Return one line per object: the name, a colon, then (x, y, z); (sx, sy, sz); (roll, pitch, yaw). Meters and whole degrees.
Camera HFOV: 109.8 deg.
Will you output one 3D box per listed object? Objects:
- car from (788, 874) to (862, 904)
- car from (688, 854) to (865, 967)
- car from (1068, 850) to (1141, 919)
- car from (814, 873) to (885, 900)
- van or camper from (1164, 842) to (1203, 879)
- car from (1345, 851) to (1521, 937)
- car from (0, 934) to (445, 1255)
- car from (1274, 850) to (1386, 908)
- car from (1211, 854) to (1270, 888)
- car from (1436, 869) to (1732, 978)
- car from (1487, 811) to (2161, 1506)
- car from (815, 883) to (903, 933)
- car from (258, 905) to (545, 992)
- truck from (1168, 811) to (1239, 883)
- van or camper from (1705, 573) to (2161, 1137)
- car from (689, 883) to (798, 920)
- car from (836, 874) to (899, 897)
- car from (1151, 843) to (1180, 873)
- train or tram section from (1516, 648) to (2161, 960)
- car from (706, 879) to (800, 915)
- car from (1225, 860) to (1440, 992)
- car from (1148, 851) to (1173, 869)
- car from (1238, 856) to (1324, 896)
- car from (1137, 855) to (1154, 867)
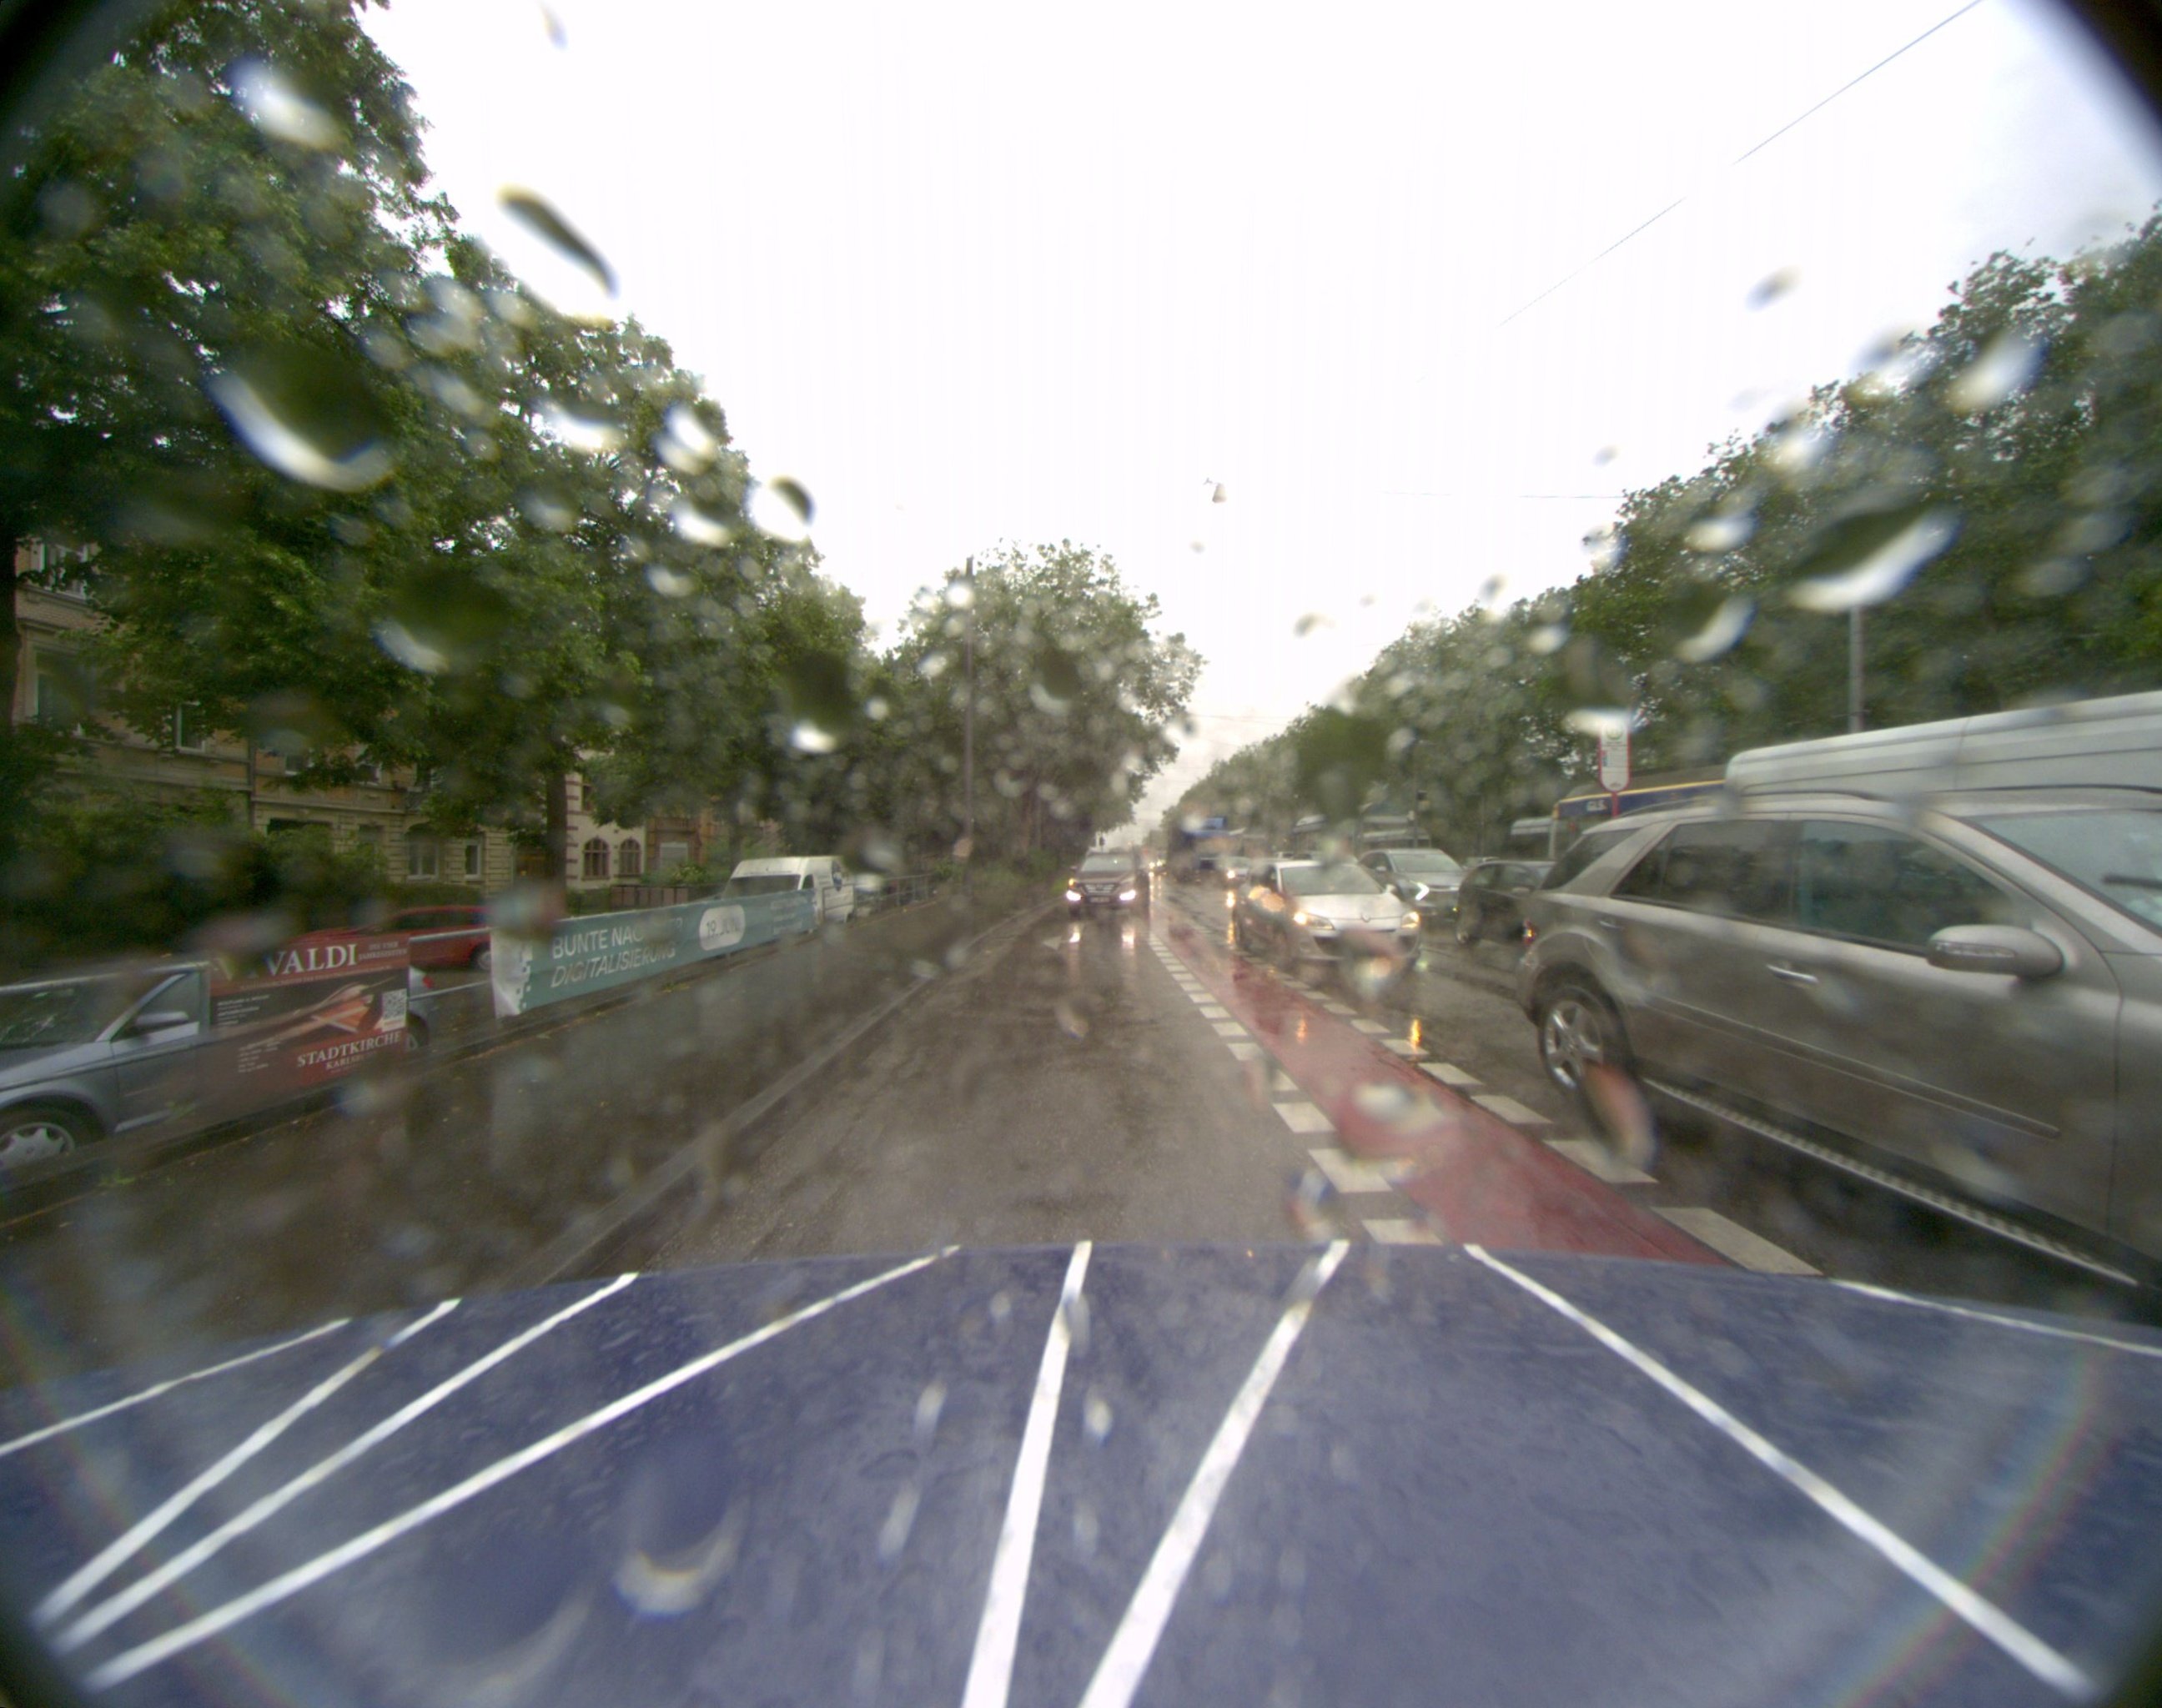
car: (-15.709, 2.133, 46.681); (4.006, 1.599, 1.821); (-2, 1, -31)
car: (-7.697, 1.259, 20.111); (2.214, 2.406, 6.157); (-3, 0, -2)
car: (0.636, 0.747, 20.565); (1.756, 1.657, 3.678); (-2, 0, 2)
car: (-15.308, 2.133, 50.273); (4.007, 1.557, 1.995); (-2, 1, -34)
van or camper: (7.651, 0.422, 57.124); (1.998, 2.555, 6.431); (-3, 0, 0)
car: (7.450, 0.744, 16.651); (1.919, 1.614, 4.454); (0, 0, 2)
car: (-7.229, 1.602, 5.537); (1.736, 1.530, 4.074); (-2, 0, -1)
car: (7.575, 0.699, 23.594); (1.999, 1.611, 4.319); (-1, 0, -1)
car: (7.593, 0.784, 36.561); (1.895, 1.478, 4.077); (-1, 0, -1)
car: (6.745, 0.836, 10.778); (1.467, 1.111, 4.087); (-2, 0, 0)
car: (3.726, 0.738, 2.797); (2.030, 1.760, 4.462); (-2, 0, 0)
car: (-7.817, 1.864, 27.199); (1.972, 1.345, 4.383); (-3, 0, -3)
car: (-14.619, 1.965, 16.756); (4.439, 1.444, 1.894); (0, -1, -32)
truck: (7.276, -0.401, 46.484); (2.545, 3.866, 9.810); (1, 0, -1)
van or camper: (7.065, 0.000, 4.314); (2.164, 3.123, 5.850); (0, 0, -1)
car: (-14.849, 2.062, 33.516); (4.269, 1.372, 1.687); (-1, 1, -27)
car: (-15.525, 2.250, 55.373); (4.007, 1.455, 1.908); (-2, 1, -34)
car: (7.269, 0.343, 65.872); (1.998, 2.412, 5.727); (-3, 0, 3)
train or tram section: (13.927, -0.664, 14.456); (3.522, 3.492, 13.658); (-3, 0, 1)
car: (-15.516, 1.998, 36.016); (4.005, 1.496, 1.655); (-1, 1, -24)
car: (3.385, 0.878, 11.072); (1.772, 1.469, 4.000); (-2, 0, 0)
car: (7.632, 0.551, 73.338); (1.998, 1.568, 4.000); (-2, 0, 1)
car: (7.534, 0.779, 29.071); (1.999, 1.386, 4.606); (0, 0, -1)
car: (6.792, 0.700, 79.935); (1.467, 1.185, 3.615); (-2, 0, 0)
